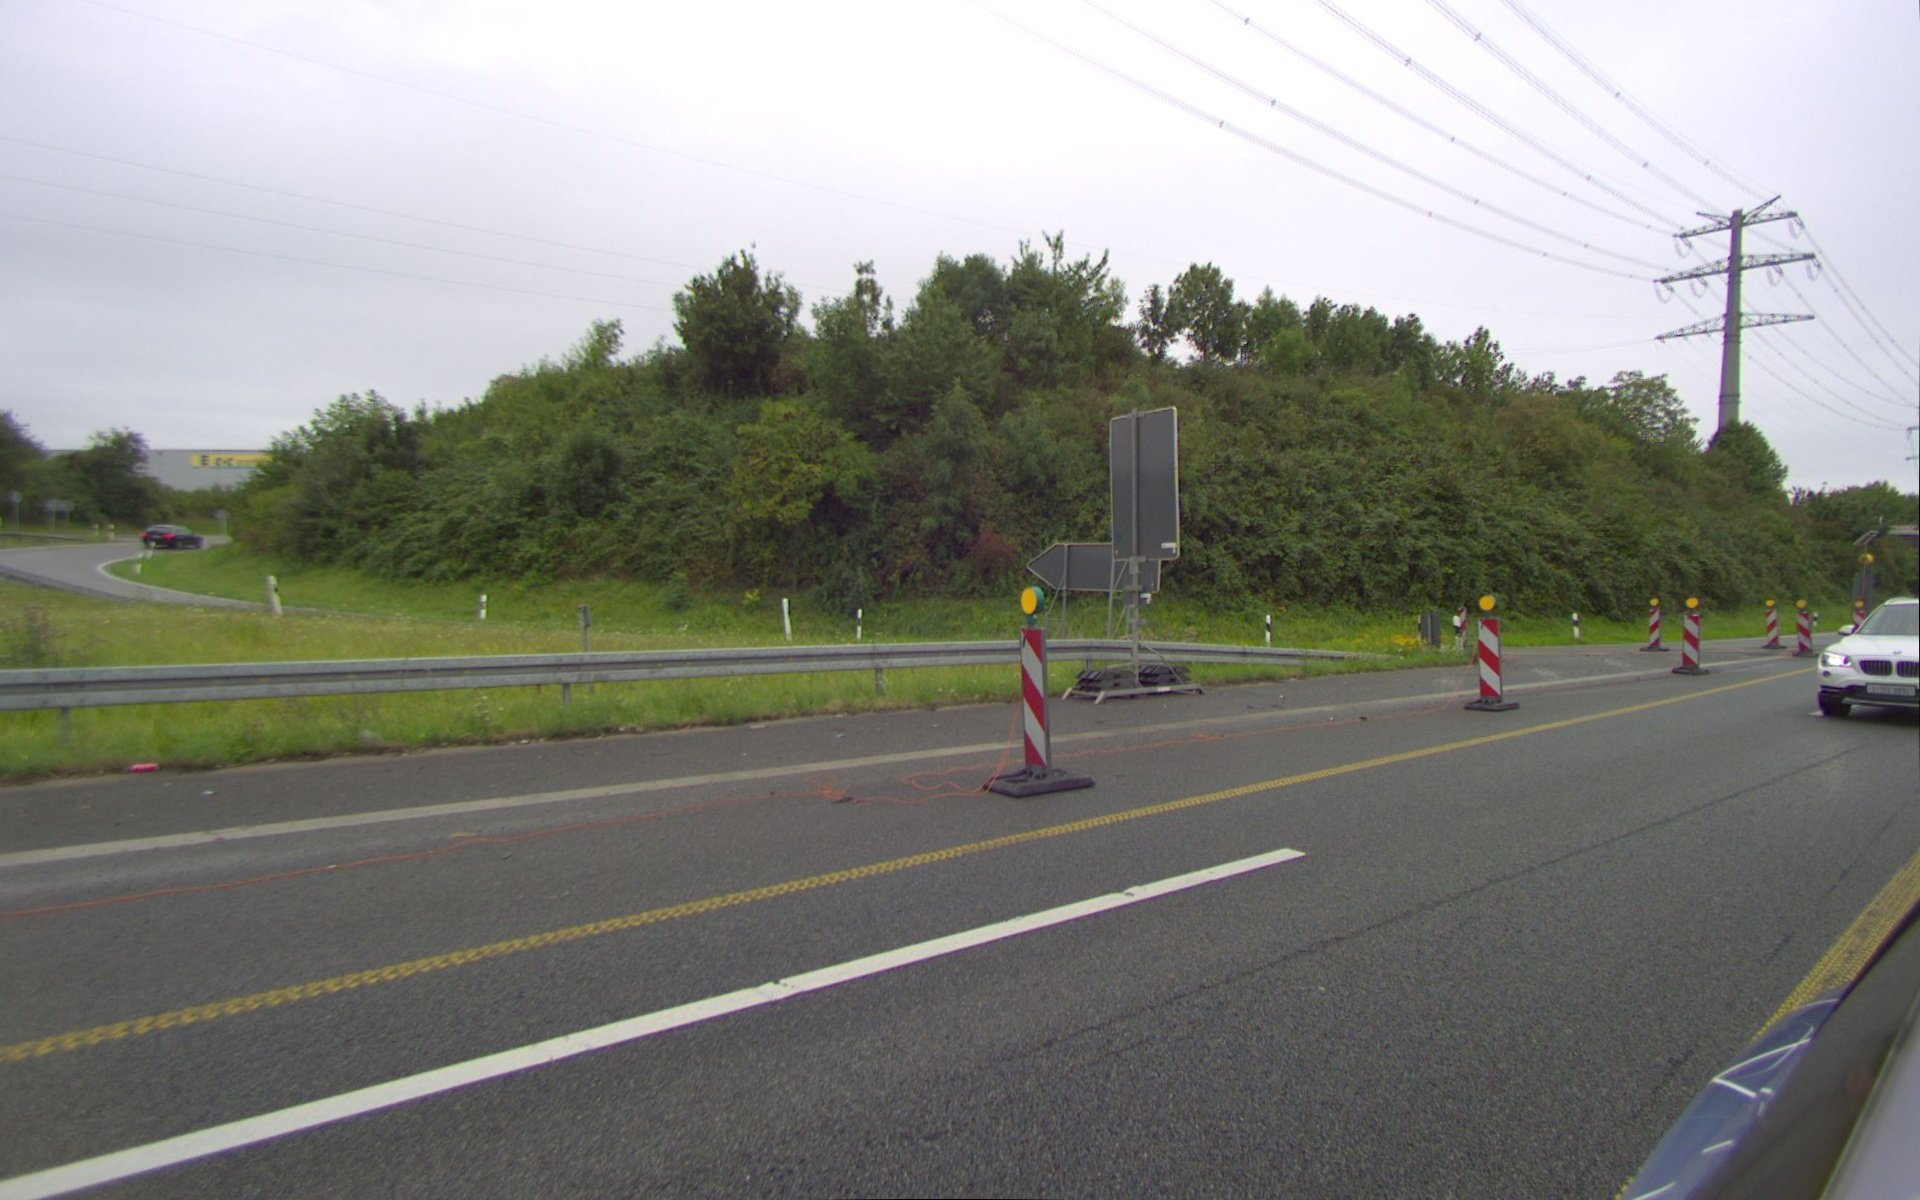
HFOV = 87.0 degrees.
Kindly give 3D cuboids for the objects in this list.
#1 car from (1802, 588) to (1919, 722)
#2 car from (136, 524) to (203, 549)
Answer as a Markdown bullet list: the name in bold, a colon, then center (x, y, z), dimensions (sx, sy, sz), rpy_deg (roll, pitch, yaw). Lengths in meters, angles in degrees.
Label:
- **car**: center (12.849, 0.642, 13.094), dimensions (4.115, 1.554, 1.877), rpy_deg (0, 1, -33)
- **car**: center (-51.686, -4.105, 66.265), dimensions (1.958, 1.466, 4.605), rpy_deg (1, 2, -17)
